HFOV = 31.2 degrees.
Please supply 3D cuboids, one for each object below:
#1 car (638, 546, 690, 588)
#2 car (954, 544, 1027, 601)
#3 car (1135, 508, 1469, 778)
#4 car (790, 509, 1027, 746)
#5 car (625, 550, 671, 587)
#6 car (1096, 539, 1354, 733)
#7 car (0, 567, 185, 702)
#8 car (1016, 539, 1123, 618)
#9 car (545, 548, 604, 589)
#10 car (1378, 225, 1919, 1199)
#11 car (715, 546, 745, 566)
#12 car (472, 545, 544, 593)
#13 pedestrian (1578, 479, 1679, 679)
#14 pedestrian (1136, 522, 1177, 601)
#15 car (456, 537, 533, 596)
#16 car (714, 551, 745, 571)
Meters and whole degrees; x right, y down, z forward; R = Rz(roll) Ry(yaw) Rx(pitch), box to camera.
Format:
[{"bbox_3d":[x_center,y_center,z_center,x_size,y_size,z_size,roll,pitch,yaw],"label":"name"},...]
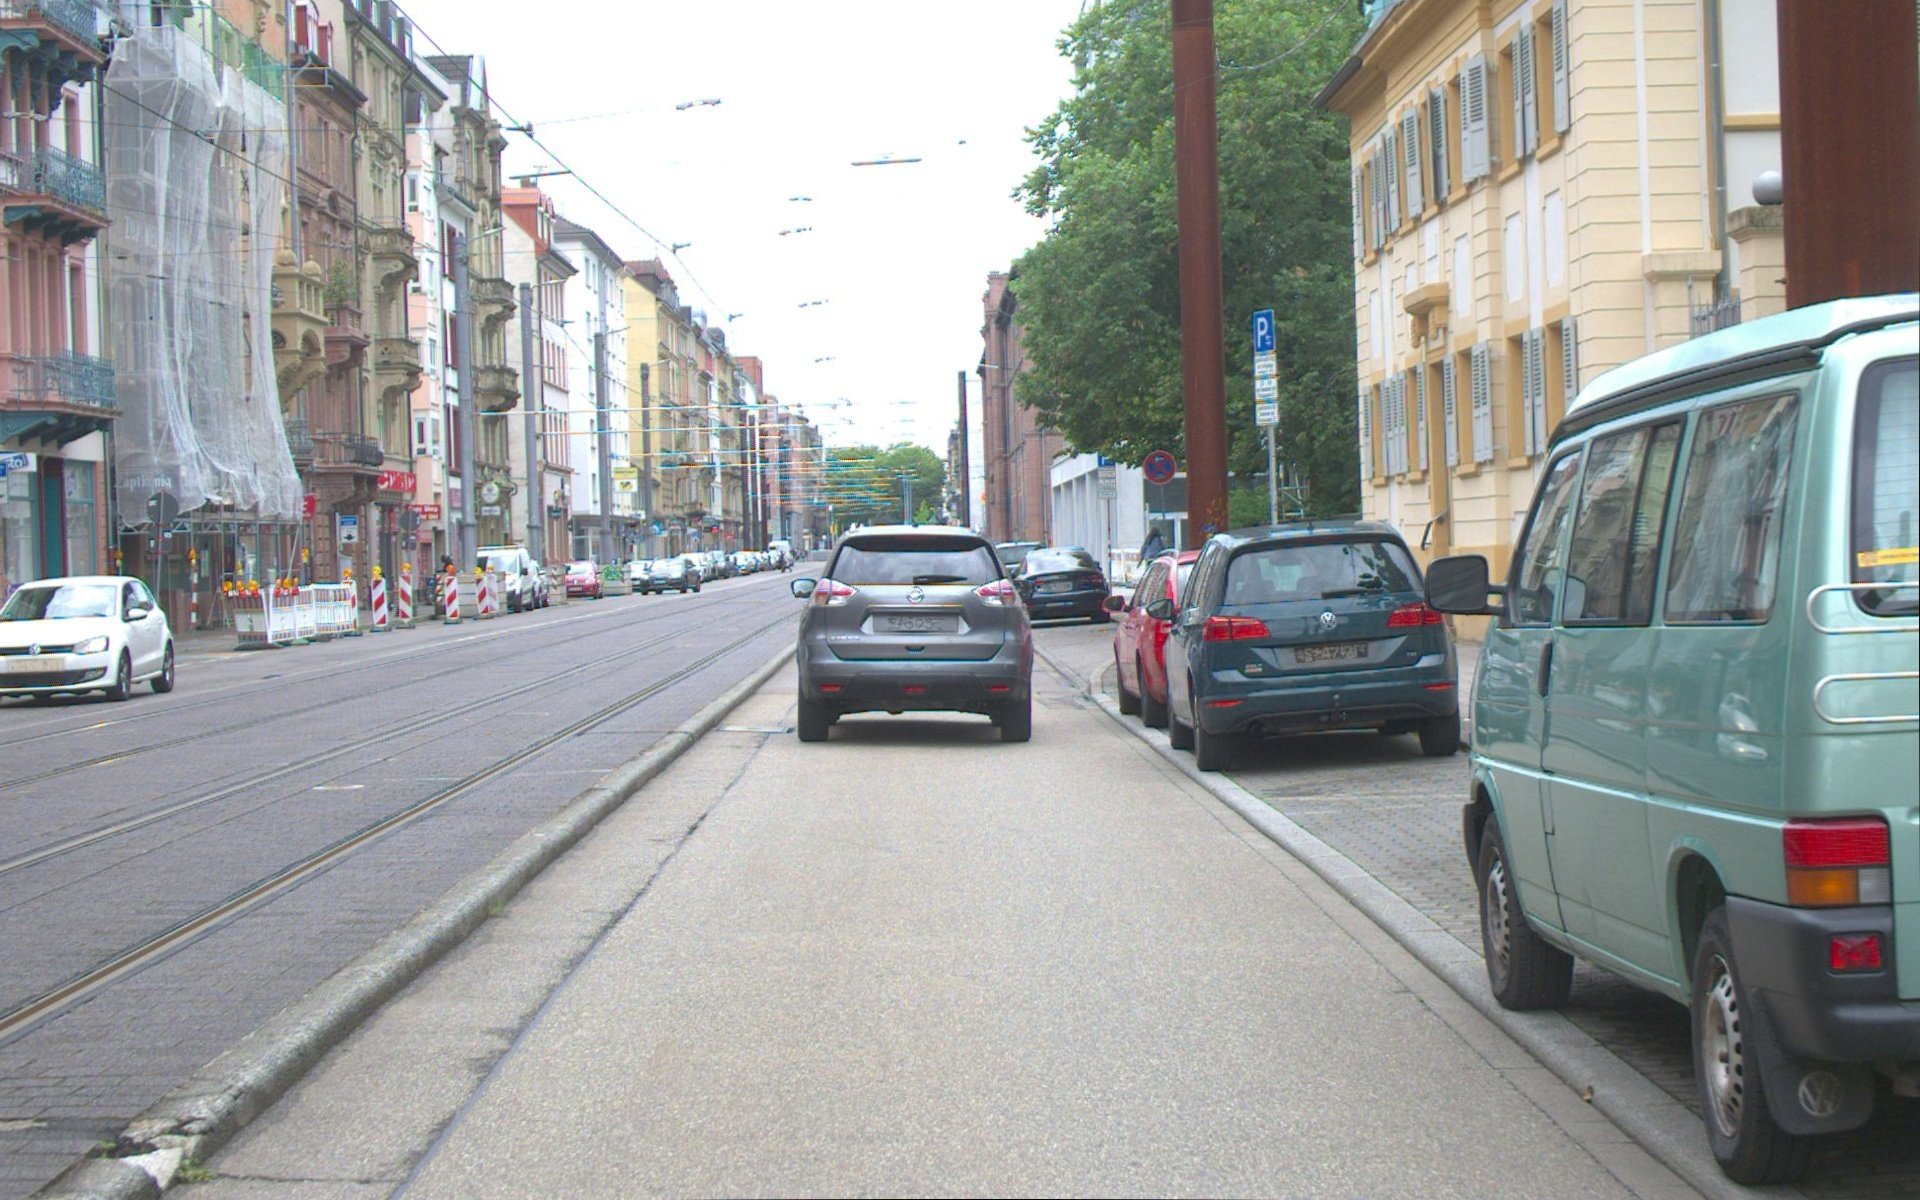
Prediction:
[{"bbox_3d":[-11.923,-1.331,138.798,1.993,1.629,4.000,-1,0,-4],"label":"car"},{"bbox_3d":[0.789,-0.747,91.020,1.776,1.415,4.135,-1,1,-1],"label":"car"},{"bbox_3d":[2.277,0.241,23.822,1.749,1.590,3.924,-4,1,-1],"label":"car"},{"bbox_3d":[-0.424,0.175,27.744,1.749,1.750,3.924,1,1,-1],"label":"car"},{"bbox_3d":[-14.447,-1.462,159.189,1.993,1.629,4.000,-1,0,-4],"label":"car"},{"bbox_3d":[2.202,0.255,29.517,1.749,1.436,3.924,-4,1,-1],"label":"car"},{"bbox_3d":[-10.248,0.364,39.731,1.687,1.415,4.135,-1,1,-1],"label":"car"},{"bbox_3d":[2.047,-0.425,65.219,1.776,1.415,4.135,-1,1,-1],"label":"car"},{"bbox_3d":[-14.417,-1.164,128.808,1.993,1.459,4.000,-1,0,-4],"label":"car"},{"bbox_3d":[2.487,0.219,9.417,1.851,2.108,4.985,-4,1,-1],"label":"car"},{"bbox_3d":[-15.218,-2.910,227.459,1.993,1.262,4.000,-1,0,-4],"label":"car"},{"bbox_3d":[-14.365,-0.982,109.436,1.993,1.459,4.000,-1,0,-4],"label":"car"},{"bbox_3d":[5.774,-0.185,29.728,0.642,1.682,0.891,-1,1,-1],"label":"pedestrian"},{"bbox_3d":[4.763,-0.934,83.323,0.910,1.880,0.846,-1,0,-1],"label":"pedestrian"},{"bbox_3d":[-13.958,-0.997,103.196,1.993,1.700,4.000,-1,0,-4],"label":"car"},{"bbox_3d":[-15.549,-2.621,231.966,1.993,1.262,4.000,-1,0,-4],"label":"car"}]
